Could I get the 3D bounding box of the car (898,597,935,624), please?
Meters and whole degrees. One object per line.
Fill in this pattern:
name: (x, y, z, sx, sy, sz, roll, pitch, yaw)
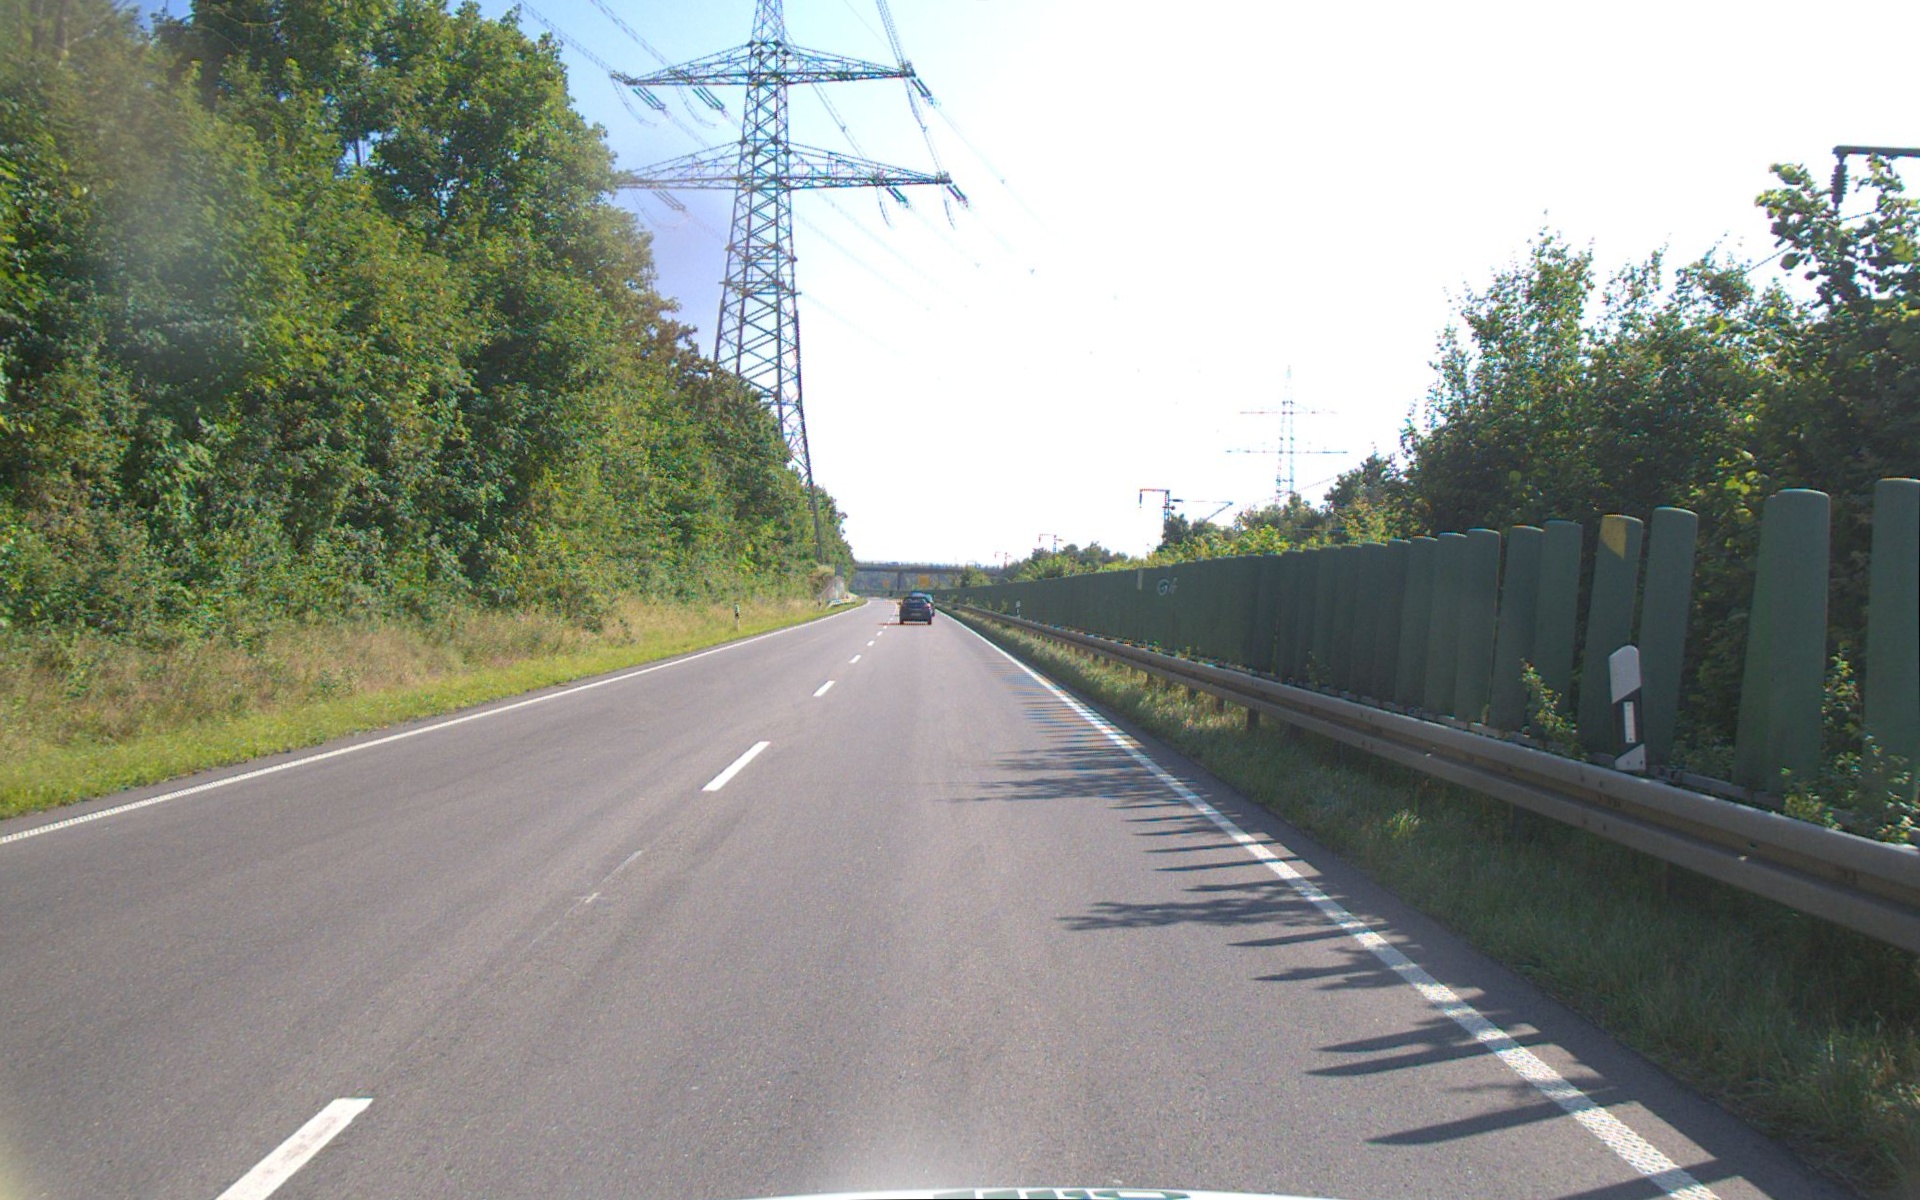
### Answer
car: (-2.214, 0.521, 82.889, 1.631, 1.283, 3.996, 1, 0, -5)
